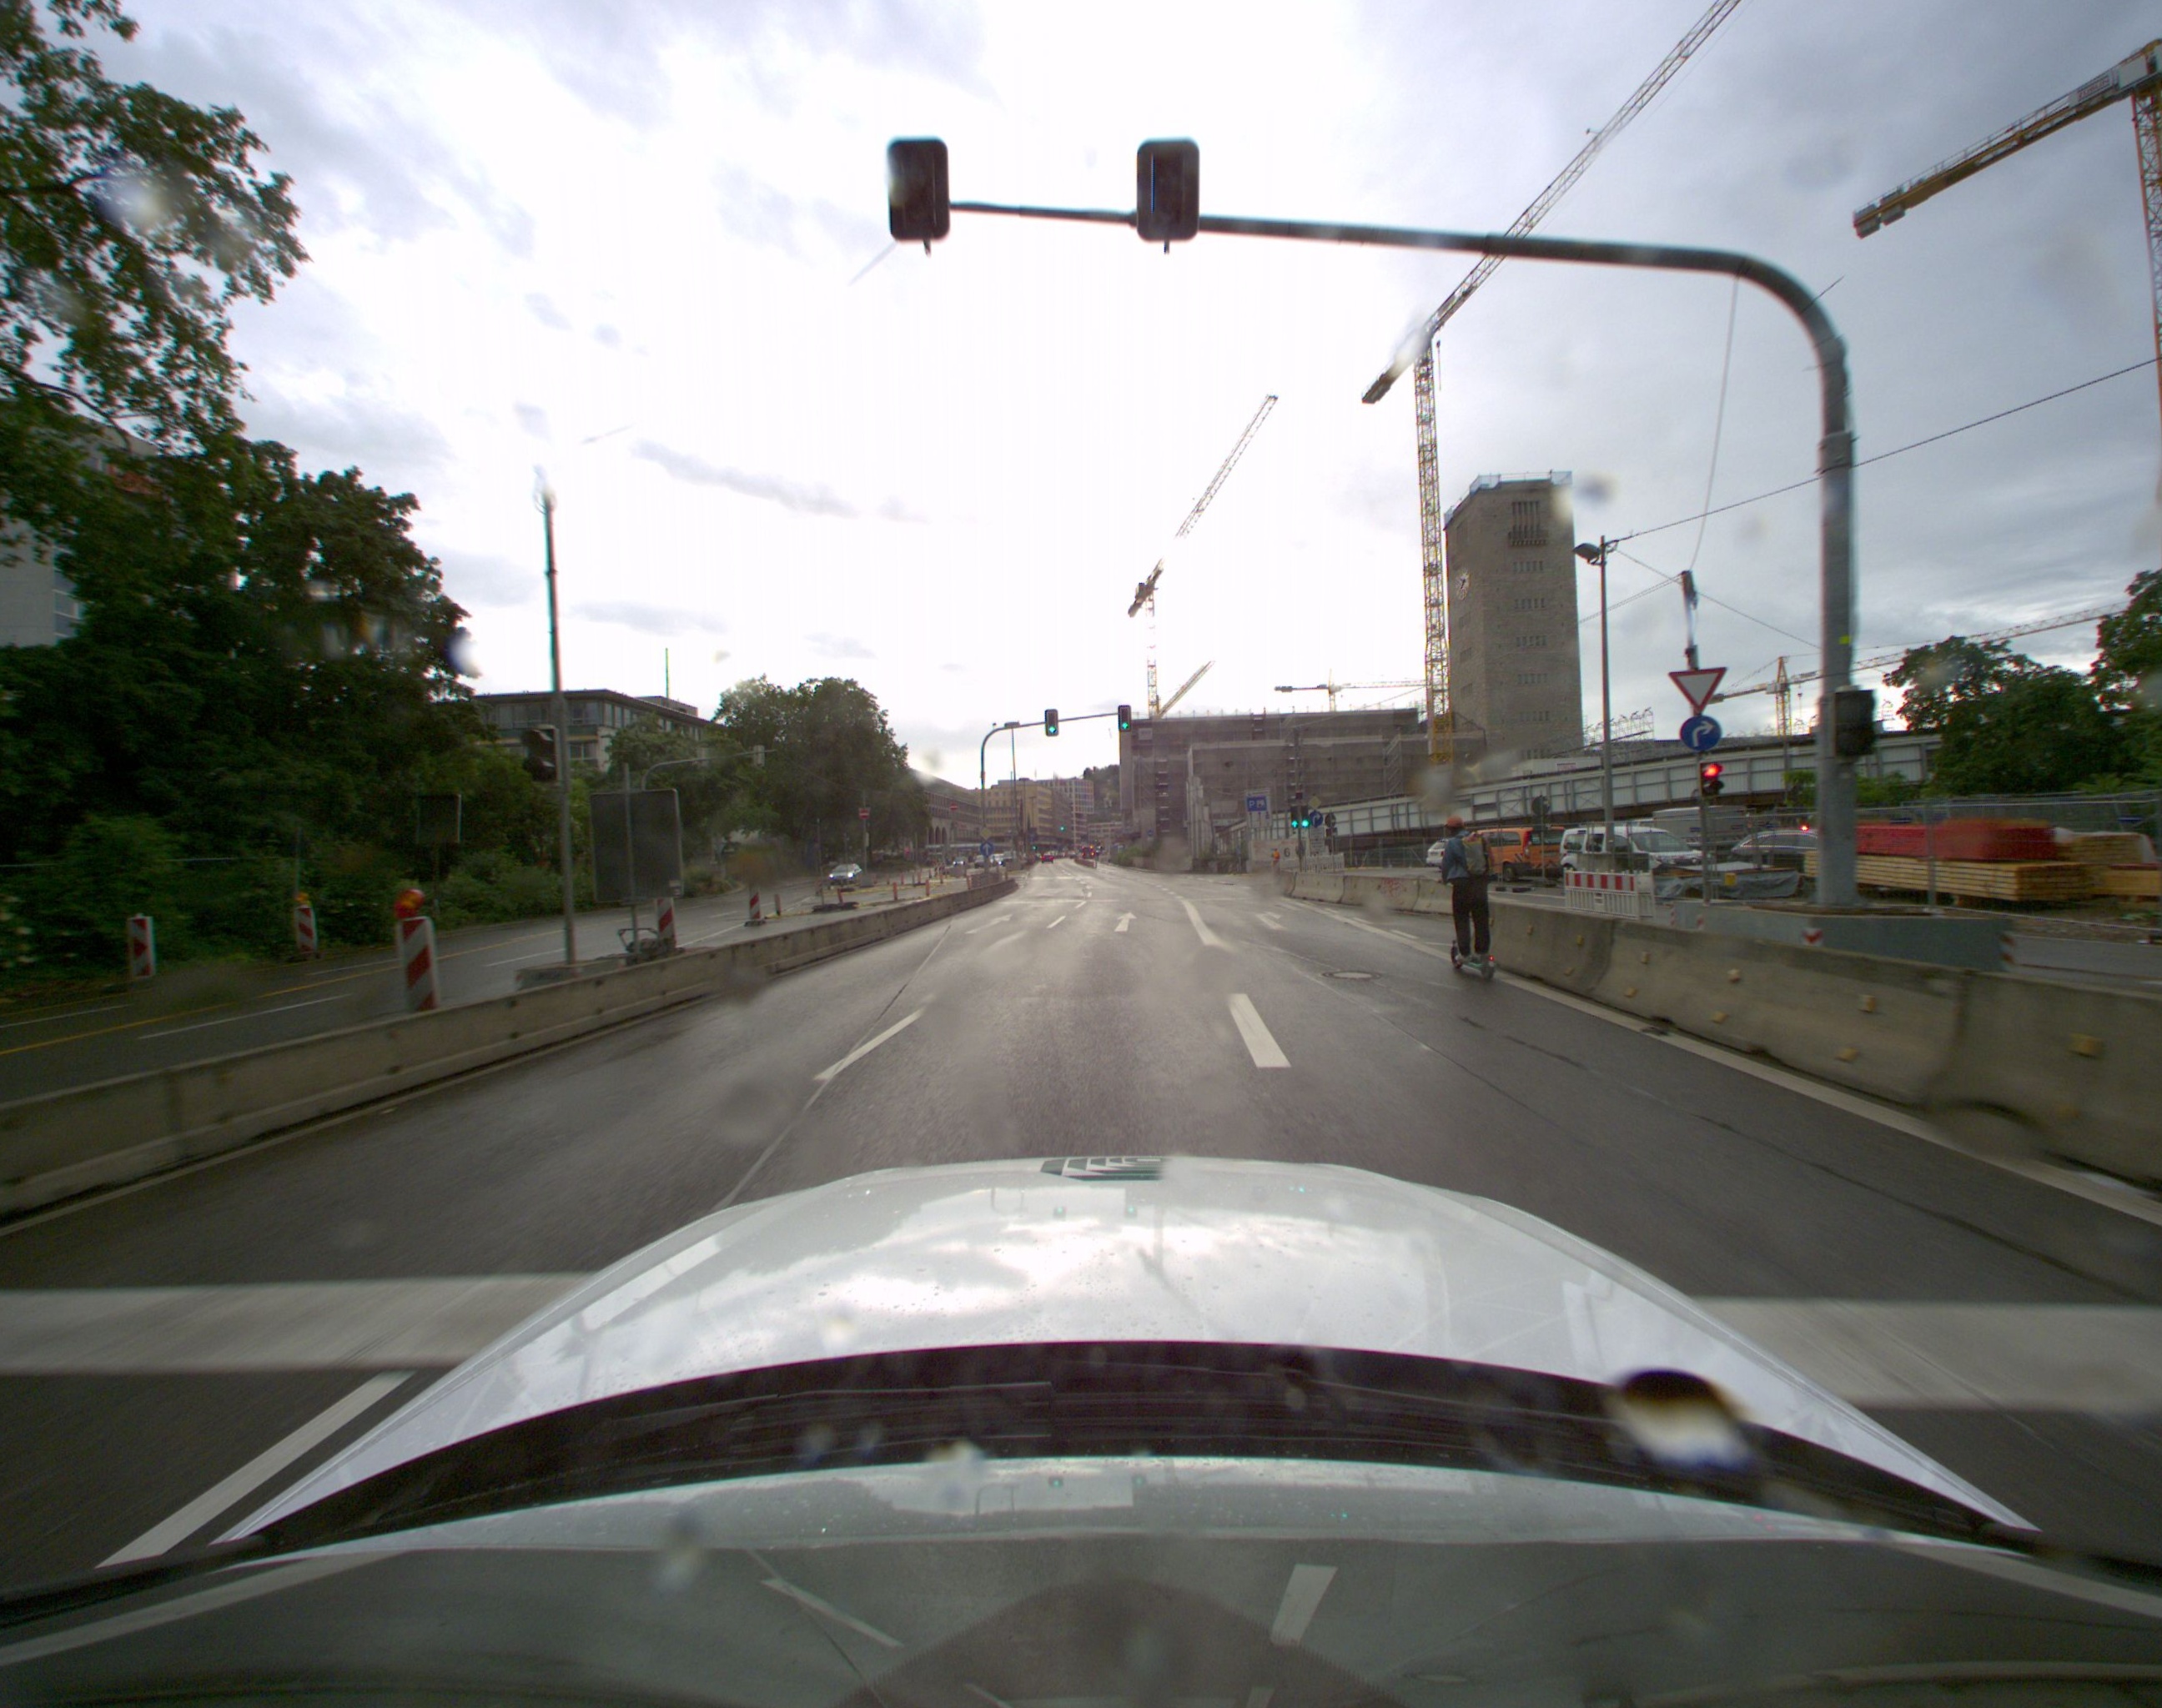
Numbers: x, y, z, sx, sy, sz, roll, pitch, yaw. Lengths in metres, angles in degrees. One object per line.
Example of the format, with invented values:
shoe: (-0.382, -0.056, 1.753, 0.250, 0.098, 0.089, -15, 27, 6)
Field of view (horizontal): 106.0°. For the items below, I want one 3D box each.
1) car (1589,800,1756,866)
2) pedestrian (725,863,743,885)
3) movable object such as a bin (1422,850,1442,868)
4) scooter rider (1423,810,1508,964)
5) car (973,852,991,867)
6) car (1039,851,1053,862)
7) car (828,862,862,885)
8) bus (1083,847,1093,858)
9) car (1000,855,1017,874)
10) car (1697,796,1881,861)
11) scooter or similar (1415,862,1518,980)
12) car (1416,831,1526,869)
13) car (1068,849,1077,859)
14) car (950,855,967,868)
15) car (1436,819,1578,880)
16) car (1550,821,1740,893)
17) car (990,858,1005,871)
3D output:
car: (23.609, -0.748, 32.881, 2.044, 2.313, 5.588, -3, 0, -9)
pedestrian: (-25.594, 1.500, 60.118, 0.583, 1.557, 1.118, -4, -2, 15)
movable object such as a bin: (23.550, 0.335, 54.621, 0.986, 1.102, 0.731, -4, -2, 6)
scooter rider: (4.699, 0.385, 10.003, 0.594, 1.786, 0.999, -2, 0, 6)
car: (-12.320, 0.709, 101.281, 1.899, 1.528, 4.170, -4, -2, -5)
car: (-5.527, 0.388, 128.862, 1.899, 1.528, 4.170, -4, -2, -5)
car: (-17.235, 1.398, 59.703, 1.765, 1.463, 4.165, -5, 0, -9)
bus: (1.605, -0.323, 195.529, 1.985, 2.431, 4.003, -4, -2, 3)
car: (-9.064, 1.359, 101.518, 1.899, 2.083, 4.170, -4, -2, -5)
car: (21.109, -0.701, 24.541, 1.757, 1.559, 3.992, -4, -2, -5)
scooter or similar: (4.707, 0.768, 10.057, 0.594, 1.319, 1.670, -2, 0, 6)
car: (17.894, -0.194, 37.442, 4.198, 1.452, 1.811, -3, 1, -7)
car: (-2.001, -0.019, 198.999, 1.988, 2.014, 3.998, -4, -2, -1)
car: (-17.095, 1.018, 113.808, 1.899, 1.528, 4.170, -4, -2, -5)
car: (15.214, -0.134, 29.484, 1.910, 1.975, 5.150, -2, 0, -7)
car: (16.034, 0.026, 23.571, 1.842, 1.806, 5.082, -2, 1, -3)
car: (-11.907, 1.482, 116.233, 1.899, 1.528, 4.170, -4, -2, -5)
